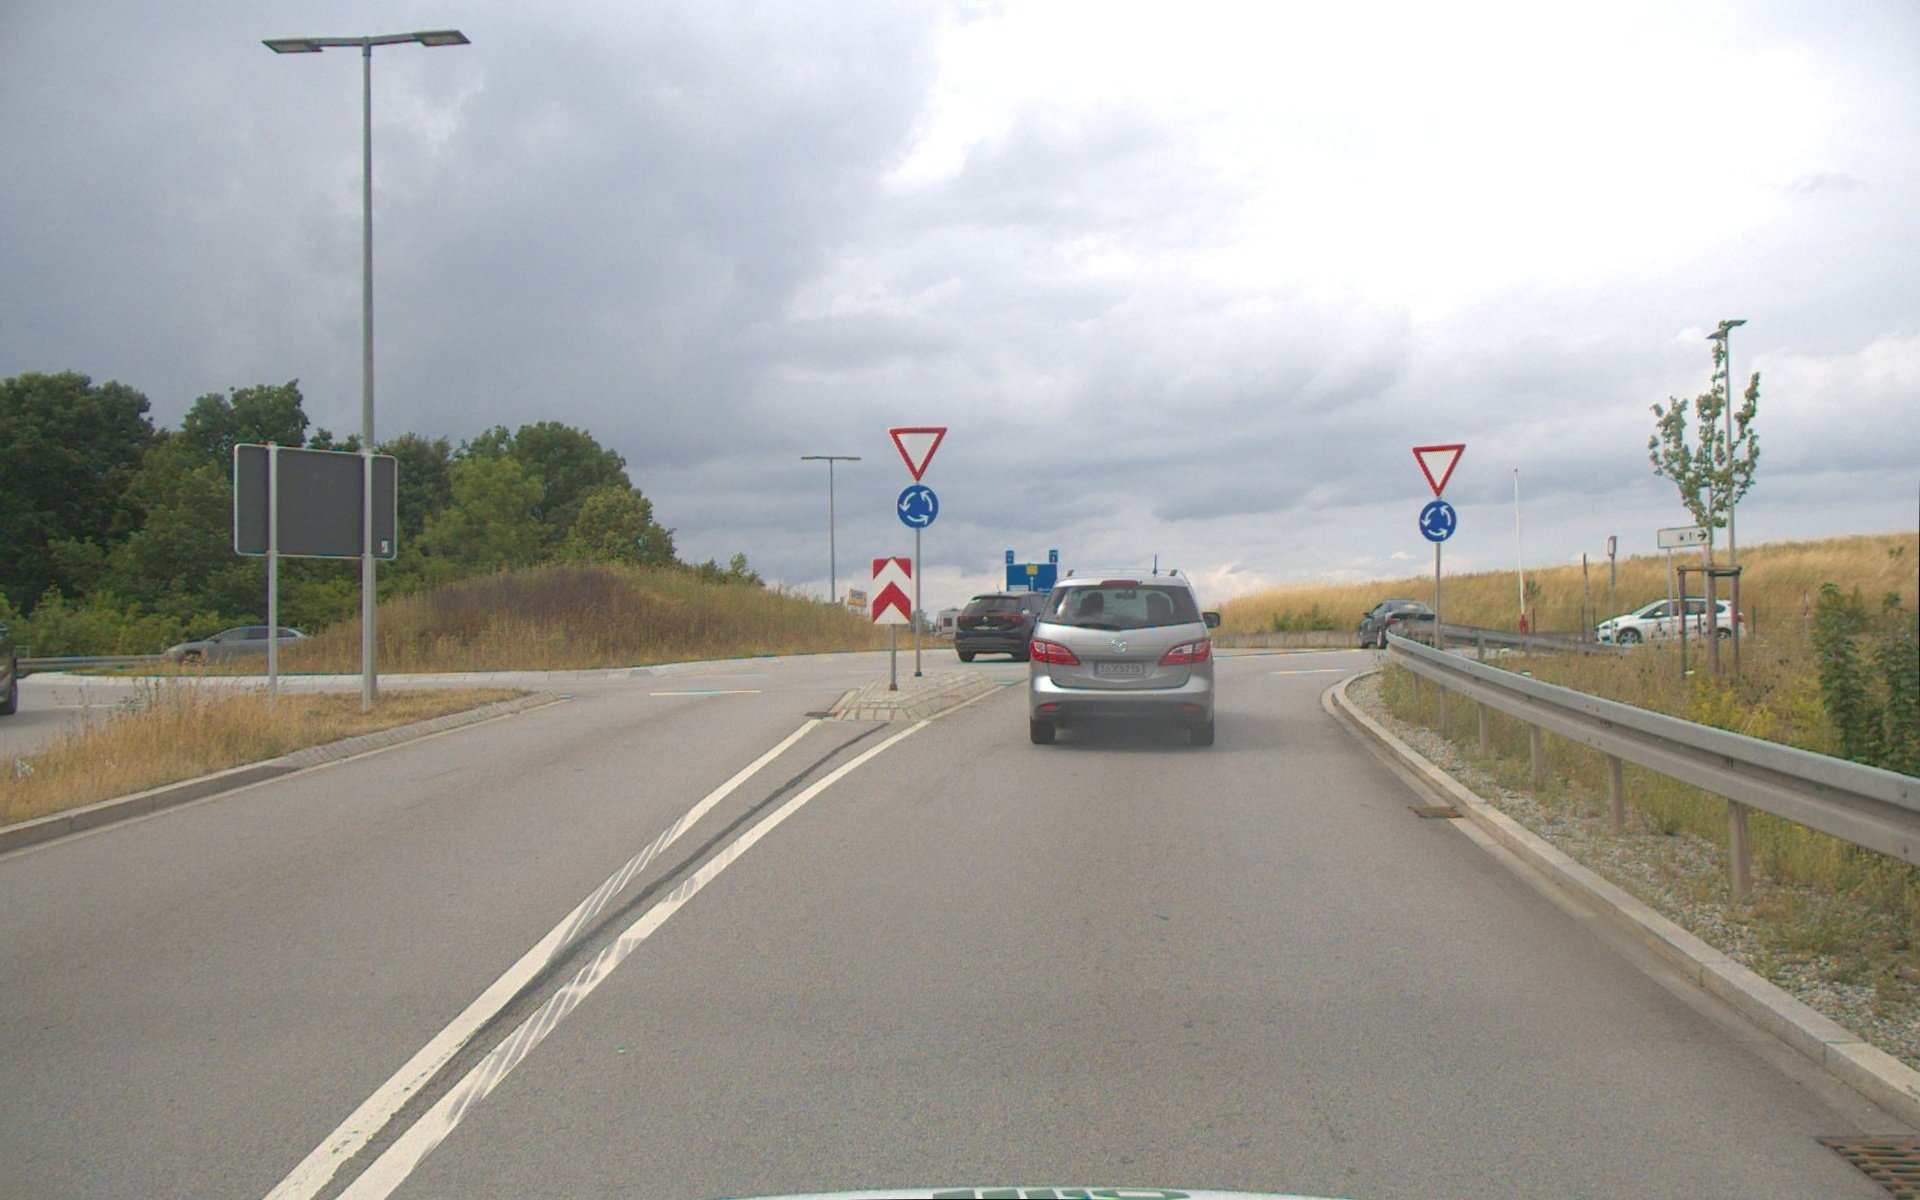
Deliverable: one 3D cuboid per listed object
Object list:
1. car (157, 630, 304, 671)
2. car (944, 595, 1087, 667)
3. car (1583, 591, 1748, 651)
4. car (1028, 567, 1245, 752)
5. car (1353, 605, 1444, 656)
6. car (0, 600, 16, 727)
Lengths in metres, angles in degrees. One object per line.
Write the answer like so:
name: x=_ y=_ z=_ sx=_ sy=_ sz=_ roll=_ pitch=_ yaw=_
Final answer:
car: x=-24.650 y=1.682 z=55.937 sx=4.415 sy=1.196 sz=1.617 roll=-2 pitch=-1 yaw=-30
car: x=1.260 y=0.635 z=35.409 sx=1.628 sy=1.402 sz=3.998 roll=-2 pitch=0 yaw=24
car: x=21.407 y=0.624 z=50.336 sx=4.319 sy=1.657 sz=1.786 roll=-2 pitch=-1 yaw=14
car: x=1.780 y=0.505 z=16.441 sx=1.870 sy=1.601 sz=4.003 roll=-1 pitch=0 yaw=7
car: x=12.339 y=0.832 z=46.706 sx=1.565 sy=1.311 sz=4.046 roll=-2 pitch=0 yaw=2
car: x=-12.517 y=0.777 z=19.805 sx=1.864 sy=1.492 sz=4.243 roll=-2 pitch=-1 yaw=-27
